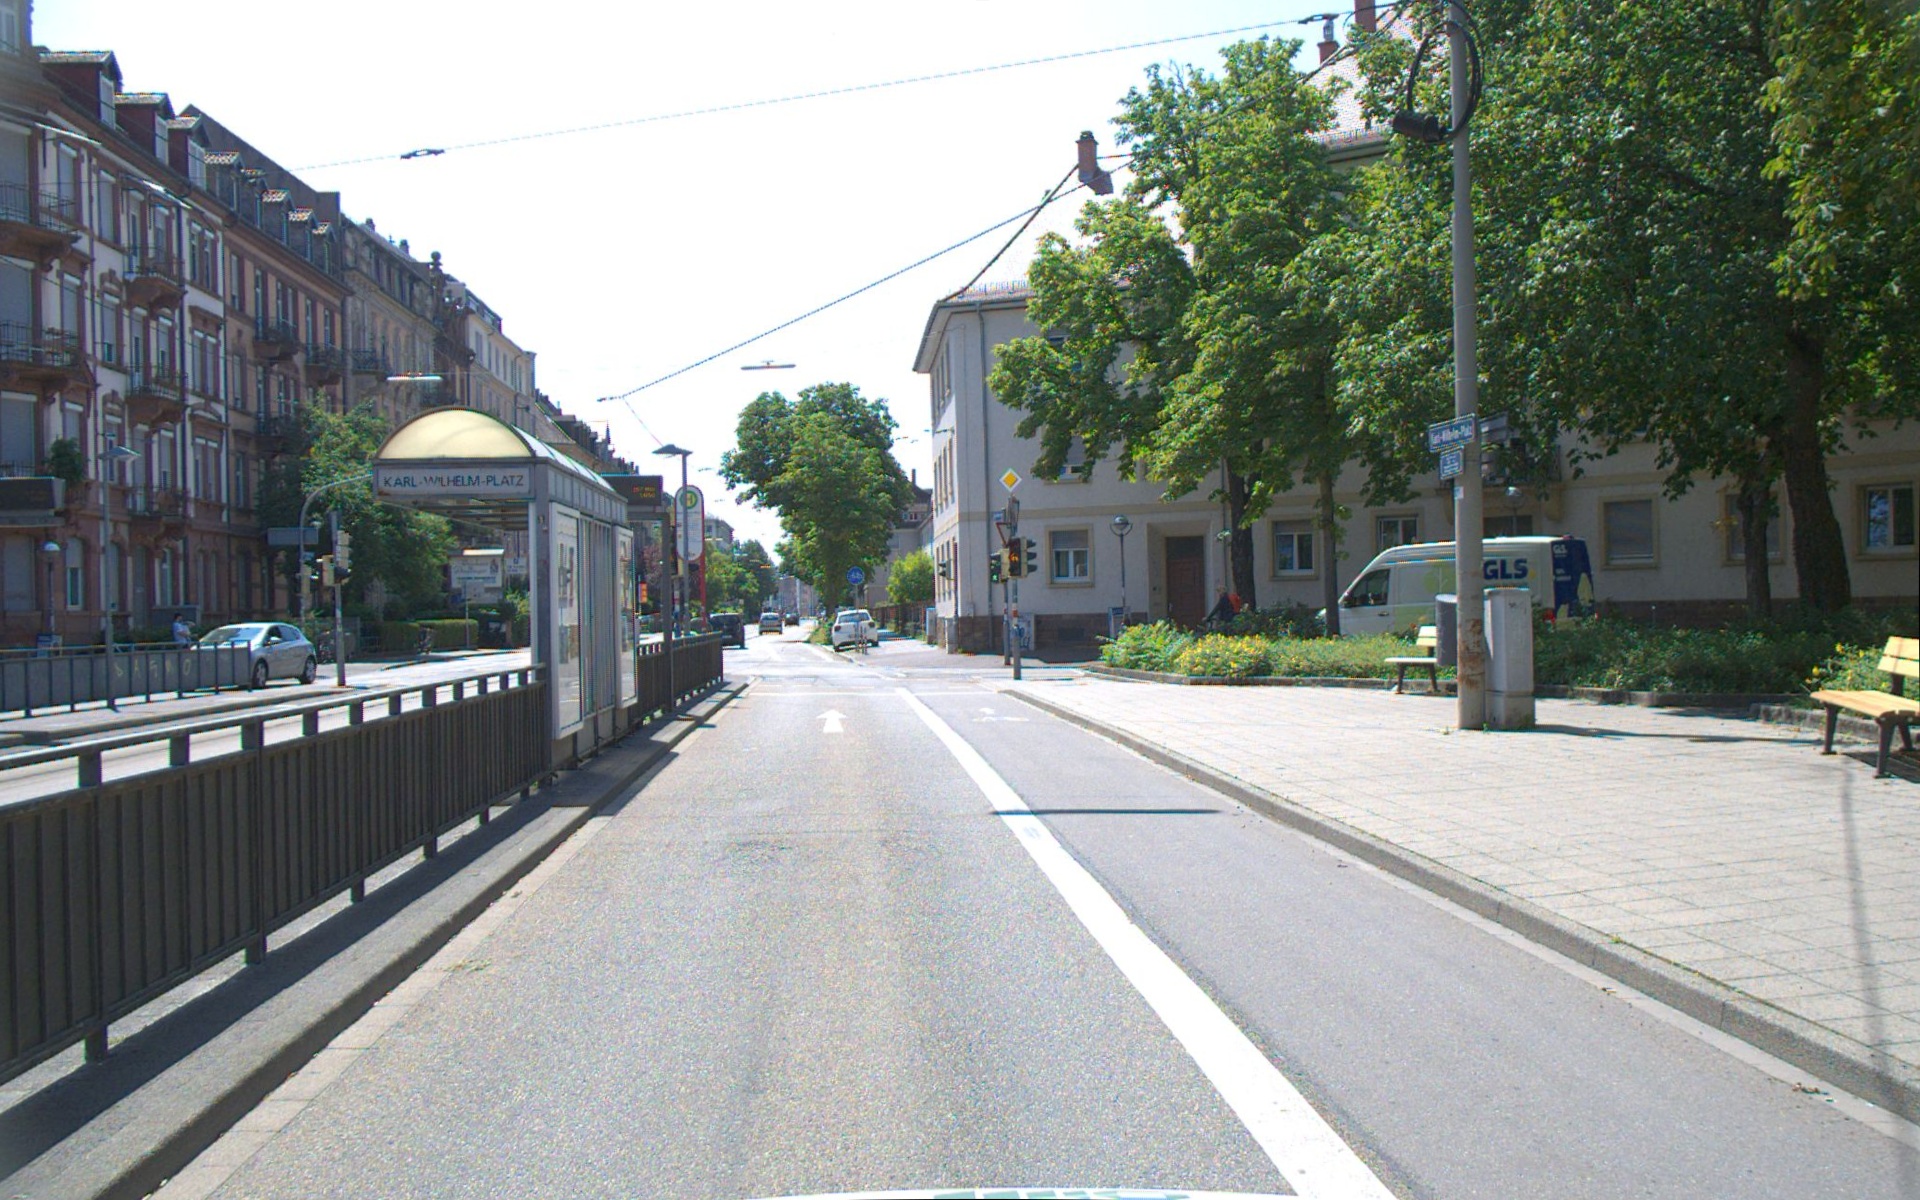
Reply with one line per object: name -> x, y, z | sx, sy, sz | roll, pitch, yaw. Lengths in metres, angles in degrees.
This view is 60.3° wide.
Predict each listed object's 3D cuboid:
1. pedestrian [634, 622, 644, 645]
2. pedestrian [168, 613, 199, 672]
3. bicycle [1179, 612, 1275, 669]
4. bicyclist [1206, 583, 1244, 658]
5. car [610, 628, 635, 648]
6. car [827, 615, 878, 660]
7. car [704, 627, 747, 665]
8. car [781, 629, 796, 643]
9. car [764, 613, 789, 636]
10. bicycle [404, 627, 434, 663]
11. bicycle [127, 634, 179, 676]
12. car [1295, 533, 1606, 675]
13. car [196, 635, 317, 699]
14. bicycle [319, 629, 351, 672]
pedestrian -> -24.833, 2.569, 128.081 | 0.664, 1.758, 0.676 | -1, -1, -6
pedestrian -> -22.012, 1.193, 46.903 | 0.461, 1.643, 0.649 | 2, 1, 42
bicycle -> 6.009, 0.926, 37.305 | 2.041, 1.258, 0.580 | -1, -1, 28
bicyclist -> 5.980, 0.467, 37.318 | 0.680, 1.675, 0.579 | -2, -2, 28
car -> -28.475, 3.202, 139.569 | 1.653, 1.498, 3.931 | -5, -1, -7
car -> -4.141, 1.430, 63.380 | 1.714, 1.498, 3.933 | -5, -1, -6
car -> -9.692, 1.885, 68.495 | 1.495, 1.469, 3.361 | -3, -1, -5
car -> -20.499, 4.296, 198.081 | 1.598, 1.498, 3.557 | -4, -1, -7
car -> -12.988, 1.742, 117.123 | 1.713, 1.498, 3.933 | -1, -1, -6
bicycle -> -21.183, 1.773, 64.722 | 0.585, 1.380, 2.414 | 0, -1, -31
bicycle -> -23.745, 1.613, 48.708 | 0.356, 1.190, 1.519 | 0, 0, 23
car -> 9.739, 0.130, 33.277 | 1.985, 2.635, 5.754 | -1, -1, -44
car -> -15.963, 1.495, 37.700 | 1.511, 1.362, 3.713 | -1, -1, -6
bicycle -> -21.037, 1.699, 55.632 | 0.608, 1.420, 2.283 | 0, -1, -31
